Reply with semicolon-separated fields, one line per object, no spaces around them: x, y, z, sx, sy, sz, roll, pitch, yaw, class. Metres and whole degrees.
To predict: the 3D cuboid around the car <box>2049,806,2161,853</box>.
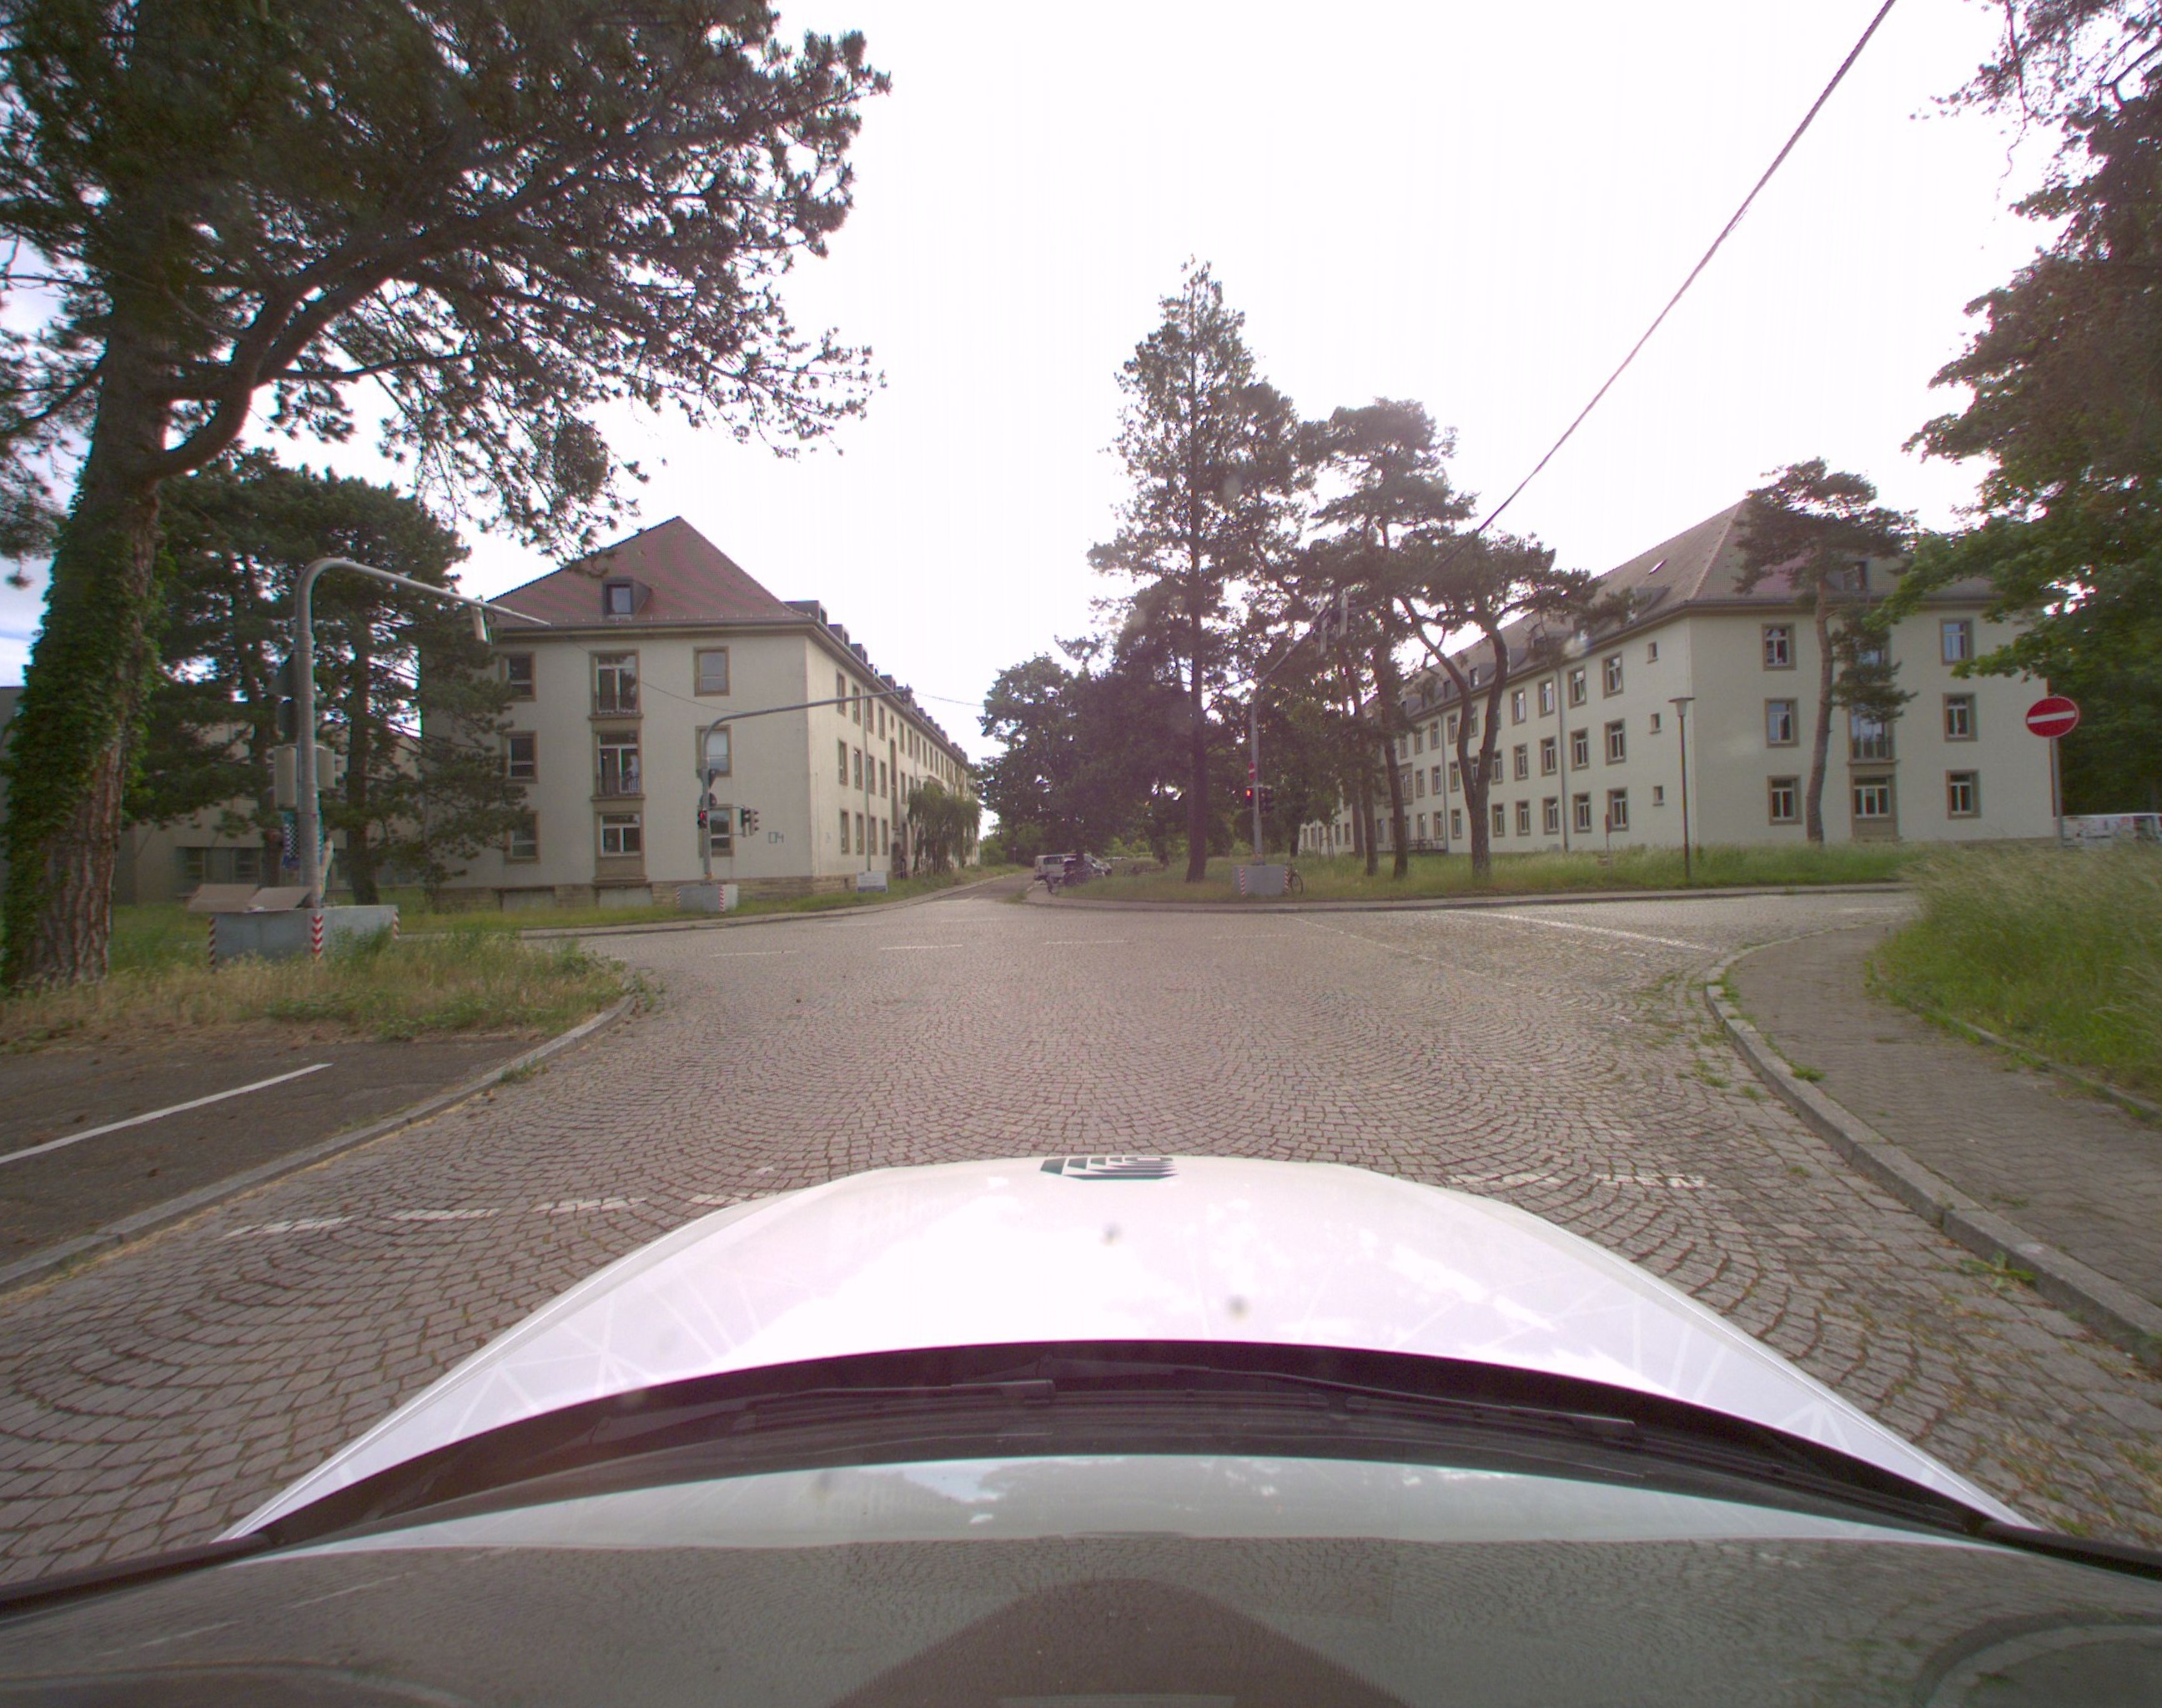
55.142;-1.318;43.093;5.163;2.288;2.213;-2;-1;0;car

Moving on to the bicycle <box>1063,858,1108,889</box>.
0.221;0.910;38.811;2.063;1.378;0.620;-2;-1;-1;bicycle

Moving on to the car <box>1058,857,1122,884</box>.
0.548;1.045;52.039;3.927;1.544;1.996;-2;0;-6;car

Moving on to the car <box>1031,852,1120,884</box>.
-0.386;0.950;55.391;5.699;1.910;2.220;-2;0;-13;car

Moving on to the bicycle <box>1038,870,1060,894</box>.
-1.379;1.213;35.683;0.615;0.963;2.080;-2;0;6;bicycle

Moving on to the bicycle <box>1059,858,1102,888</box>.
-0.015;0.930;40.401;2.063;1.378;0.620;-2;-1;-1;bicycle

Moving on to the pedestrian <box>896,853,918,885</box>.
-11.242;0.976;52.778;1.082;2.014;1.023;-2;-1;4;pedestrian

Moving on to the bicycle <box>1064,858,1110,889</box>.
0.282;0.893;37.517;2.063;1.378;0.620;-2;-1;-1;bicycle

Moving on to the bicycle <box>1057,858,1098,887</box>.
-0.169;0.952;41.882;2.063;1.378;0.620;-2;-1;-1;bicycle

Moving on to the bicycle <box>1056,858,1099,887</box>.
-0.175;0.941;41.135;2.063;1.378;0.620;-2;-1;-1;bicycle

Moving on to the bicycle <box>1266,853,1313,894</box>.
6.484;0.593;25.375;0.906;1.177;1.873;-2;-1;-2;bicycle

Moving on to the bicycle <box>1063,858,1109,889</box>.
0.231;0.902;38.186;2.063;1.378;0.620;-2;-1;-1;bicycle

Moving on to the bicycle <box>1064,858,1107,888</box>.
0.220;0.921;39.607;2.063;1.378;0.620;-2;-1;-1;bicycle
